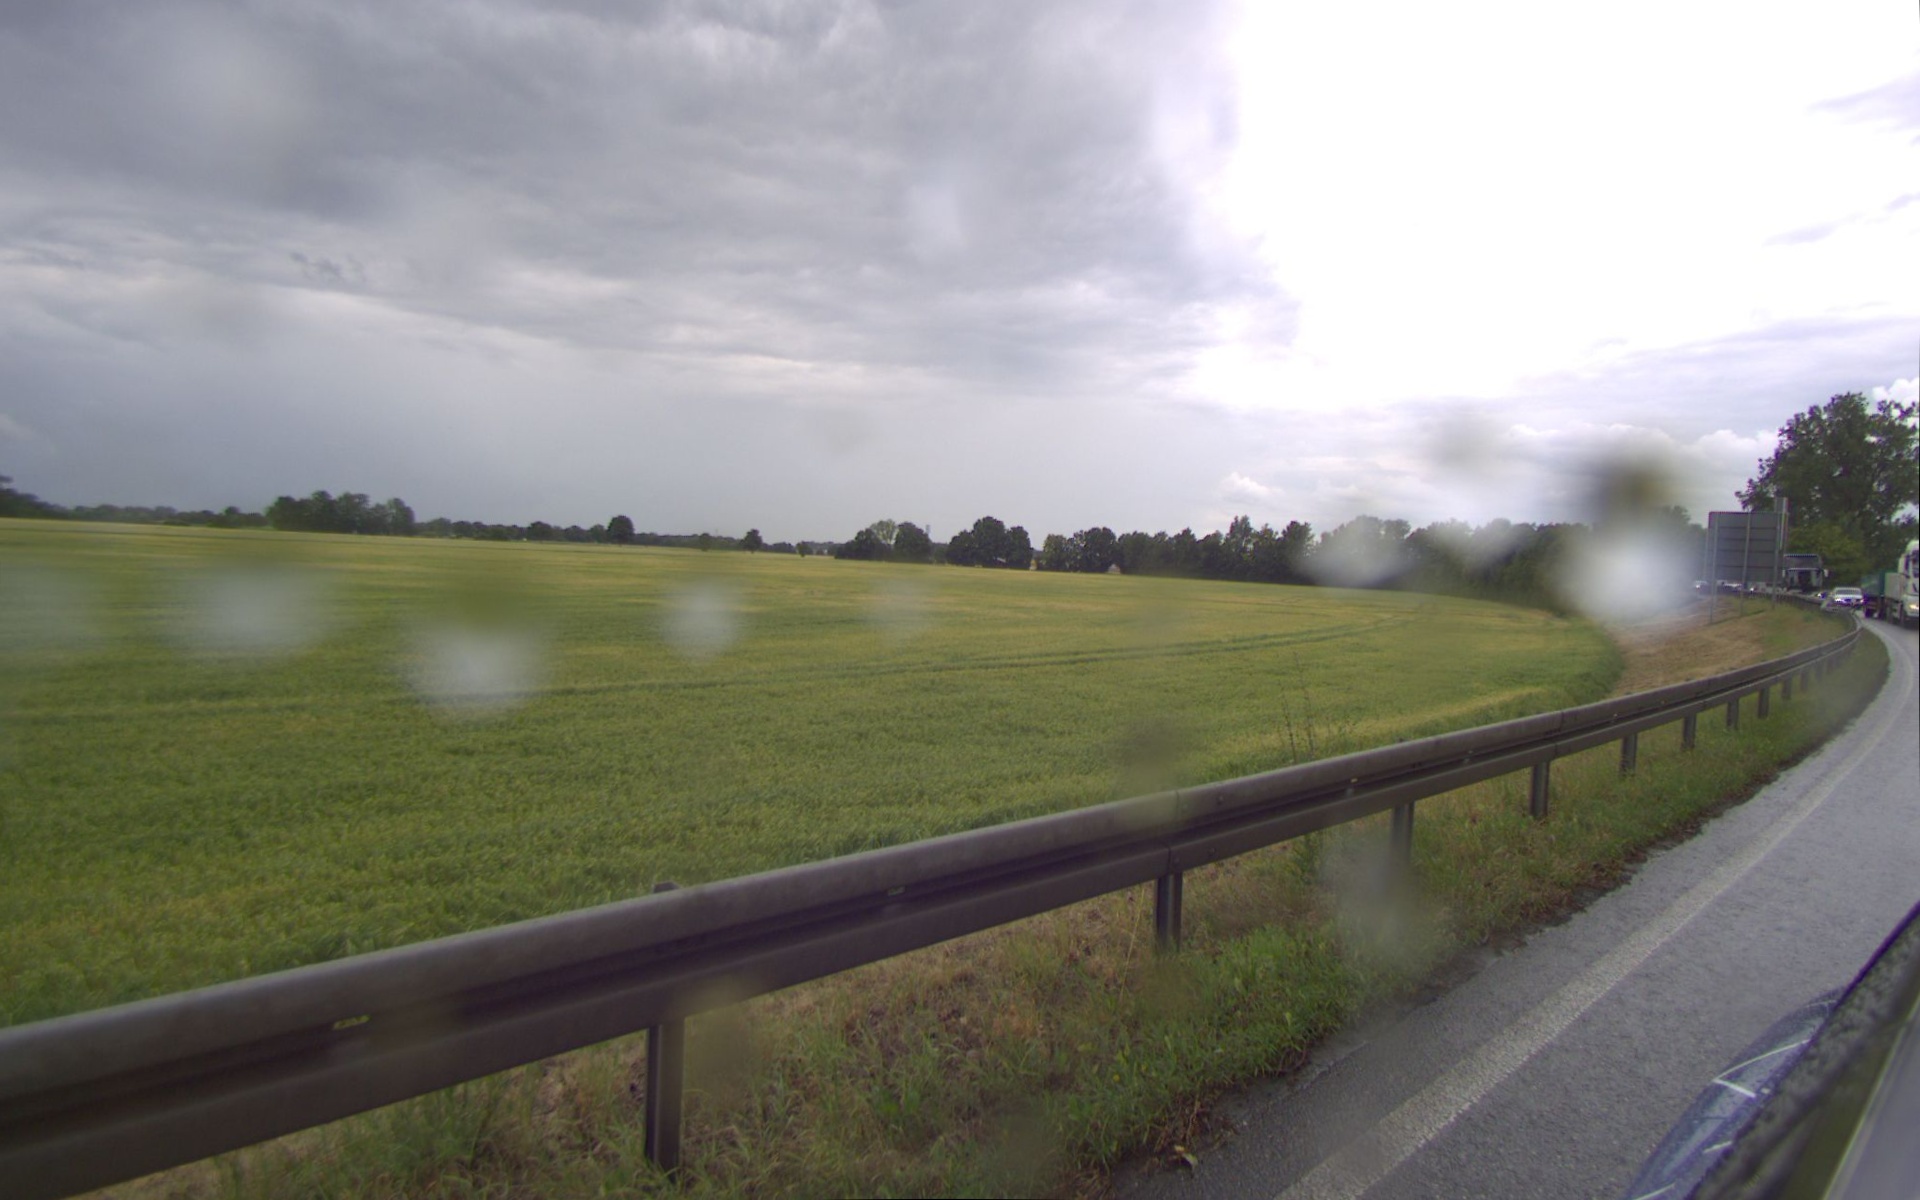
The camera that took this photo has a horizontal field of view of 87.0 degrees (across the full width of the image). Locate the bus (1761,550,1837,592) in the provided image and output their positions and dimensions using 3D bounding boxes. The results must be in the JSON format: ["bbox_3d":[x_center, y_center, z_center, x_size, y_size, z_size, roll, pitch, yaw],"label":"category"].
[{"bbox_3d":[73.192,-2.533,88.601,2.942,3.354,14.676,0,1,31],"label":"bus"}]

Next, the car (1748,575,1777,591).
[{"bbox_3d":[82.462,-1.696,104.030,1.800,1.597,3.957,0,0,30],"label":"car"}]

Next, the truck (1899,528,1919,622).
[{"bbox_3d":[40.414,-1.013,41.037,2.971,3.655,5.995,0,0,39],"label":"truck"}]

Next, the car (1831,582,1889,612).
[{"bbox_3d":[59.273,-0.233,66.733,2.028,1.866,5.274,0,0,32],"label":"car"}]

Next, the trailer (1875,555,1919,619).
[{"bbox_3d":[45.698,-0.617,47.629,2.971,2.666,15.461,0,1,39],"label":"trailer"}]

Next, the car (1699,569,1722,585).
[{"bbox_3d":[99.602,-3.023,134.417,1.789,2.039,4.131,0,0,27],"label":"car"}]
